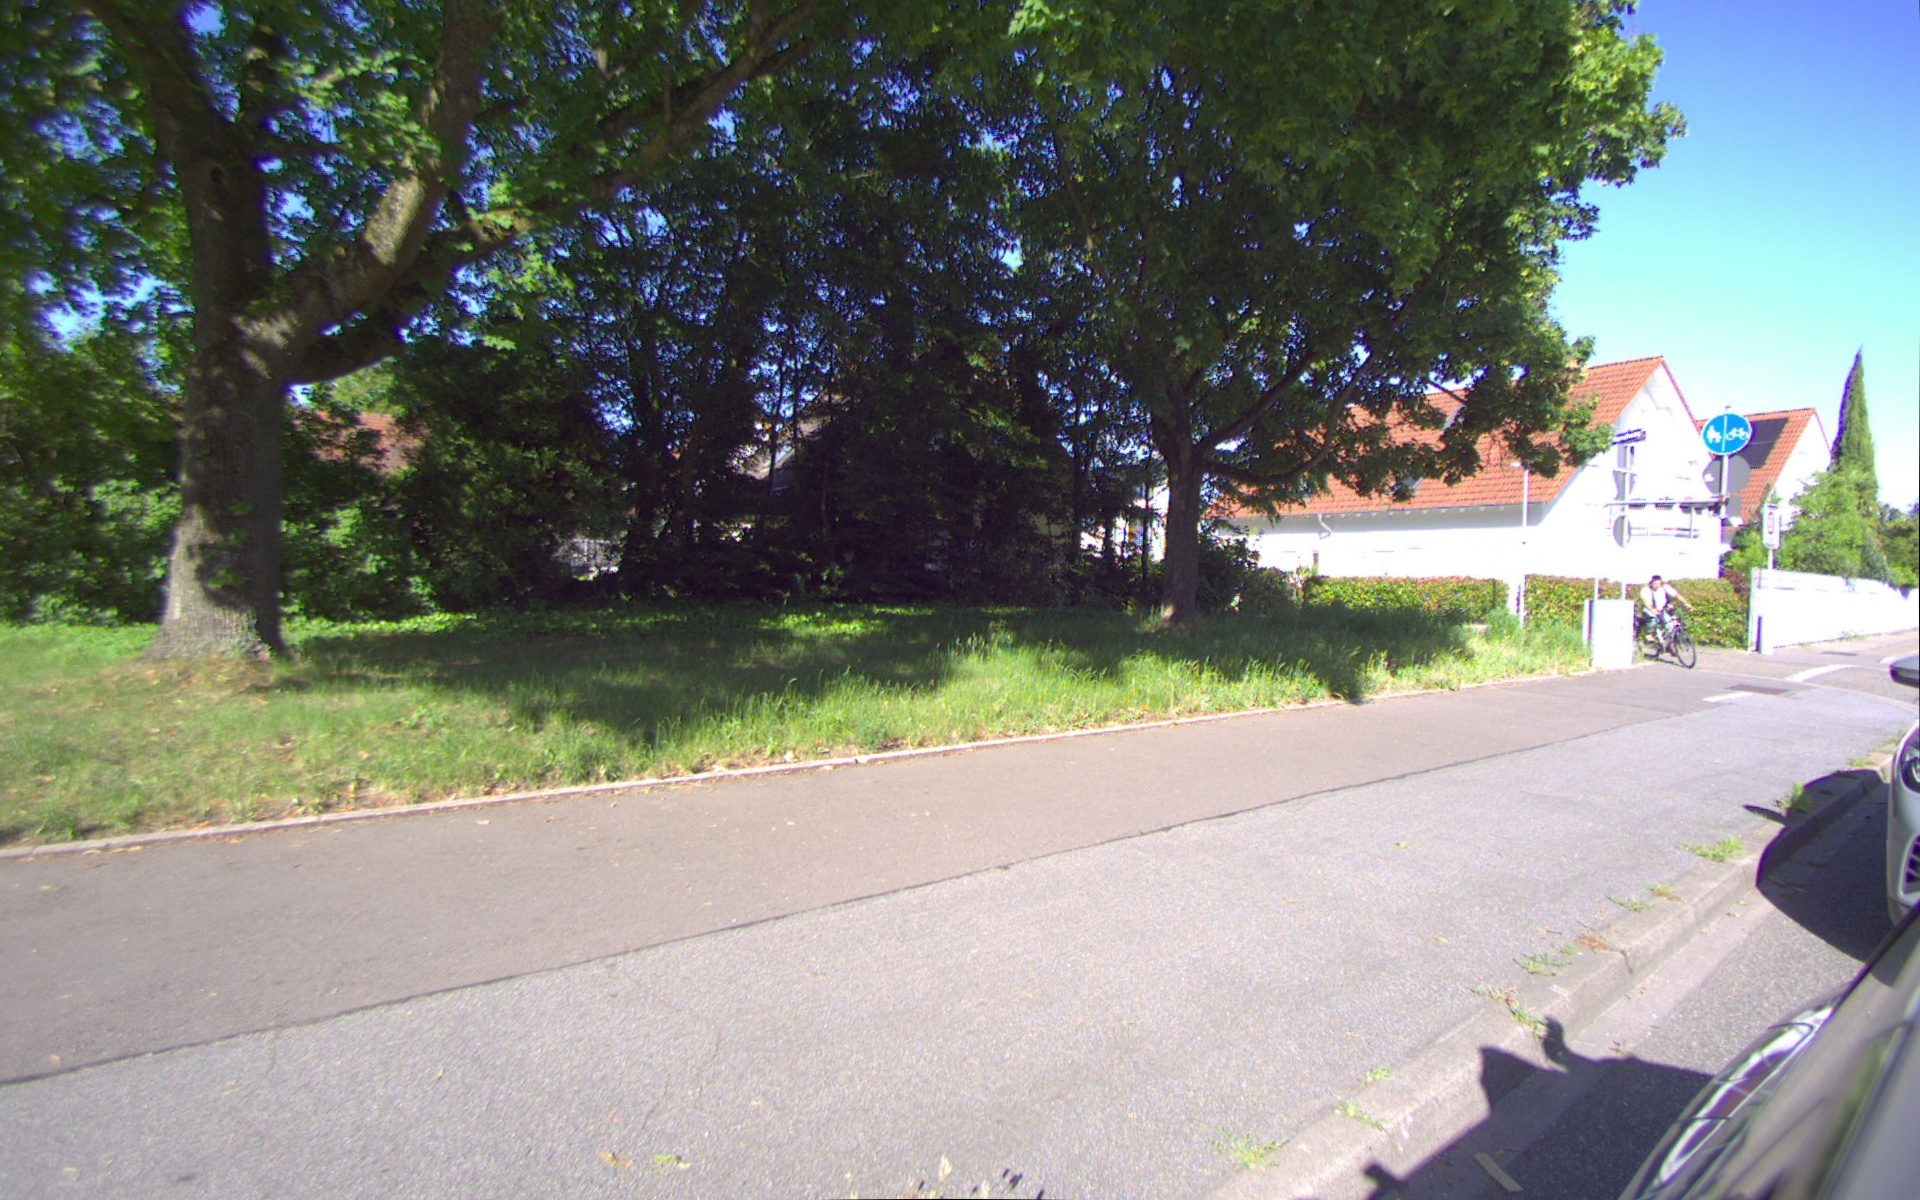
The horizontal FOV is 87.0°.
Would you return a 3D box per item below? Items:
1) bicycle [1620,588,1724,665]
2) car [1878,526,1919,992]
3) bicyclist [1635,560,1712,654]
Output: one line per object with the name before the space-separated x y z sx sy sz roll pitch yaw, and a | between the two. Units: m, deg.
bicycle | 13.268 0.465 18.925 0.570 1.109 1.987 4 7 6
car | 5.625 0.606 4.427 4.133 1.710 1.857 0 3 -41
bicyclist | 13.294 0.110 18.886 0.570 1.598 0.997 4 7 6
